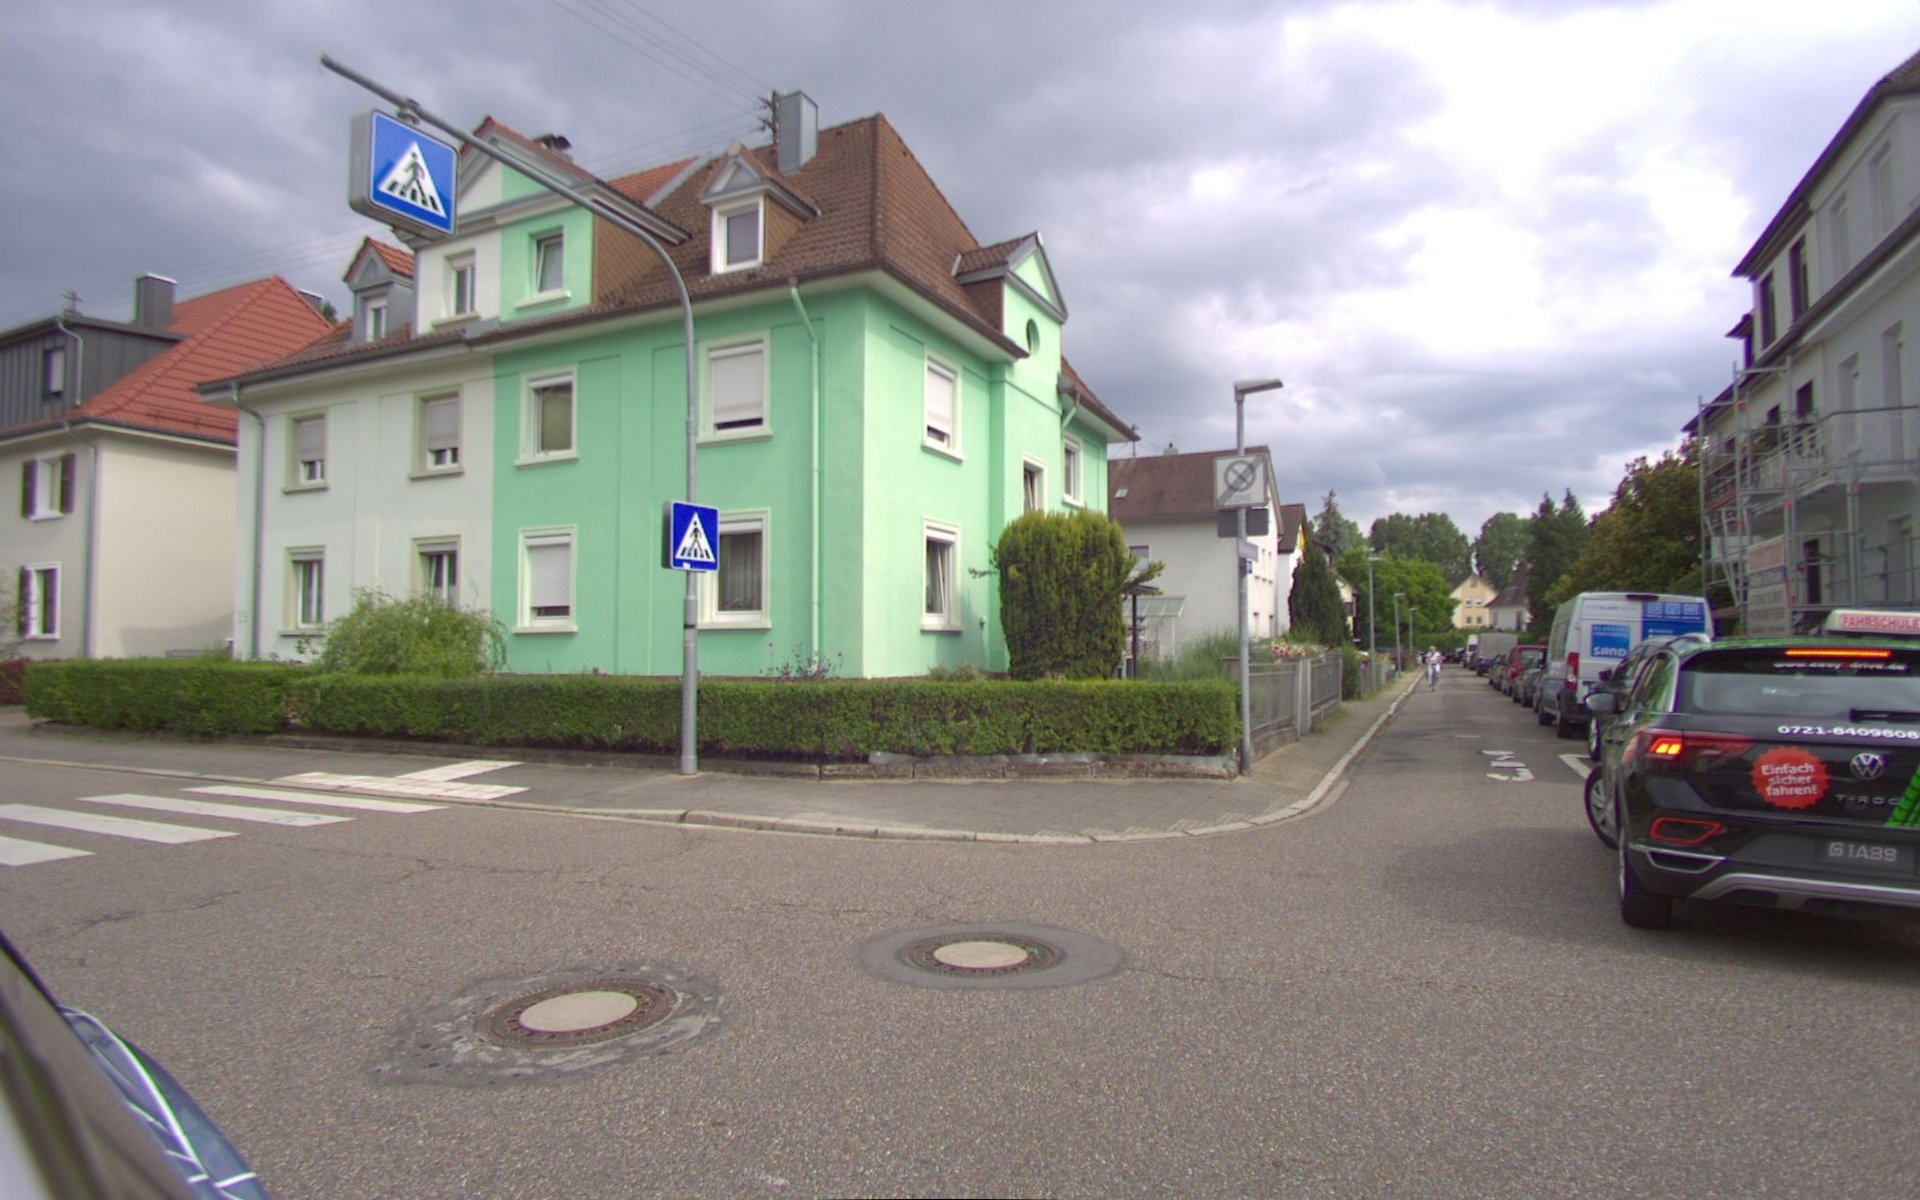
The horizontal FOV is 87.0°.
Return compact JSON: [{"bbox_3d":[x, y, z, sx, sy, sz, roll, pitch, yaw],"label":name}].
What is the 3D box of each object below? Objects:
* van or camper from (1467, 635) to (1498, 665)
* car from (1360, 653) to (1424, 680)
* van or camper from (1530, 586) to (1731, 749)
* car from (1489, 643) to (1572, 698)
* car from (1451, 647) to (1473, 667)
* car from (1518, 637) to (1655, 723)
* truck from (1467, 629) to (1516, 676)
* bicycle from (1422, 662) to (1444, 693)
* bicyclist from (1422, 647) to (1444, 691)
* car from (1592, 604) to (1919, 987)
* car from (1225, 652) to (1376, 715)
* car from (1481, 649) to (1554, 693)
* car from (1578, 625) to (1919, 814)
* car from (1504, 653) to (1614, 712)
[{"bbox_3d":[45.829,4.419,88.814,2.137,2.561,4.970,-2,-3,26],"label":"van or camper"},{"bbox_3d":[29.803,4.602,69.913,3.972,1.785,1.856,-1,-4,22],"label":"car"},{"bbox_3d":[11.777,1.157,18.189,2.186,2.478,5.011,-2,-3,25],"label":"van or camper"},{"bbox_3d":[19.645,2.398,35.026,1.987,1.763,4.307,-2,-3,23],"label":"car"},{"bbox_3d":[53.866,6.164,108.532,1.856,2.029,3.961,-2,-5,28],"label":"car"},{"bbox_3d":[14.346,1.783,23.425,1.987,1.785,4.307,-2,-3,23],"label":"car"},{"bbox_3d":[31.436,3.111,59.955,2.123,2.678,4.547,-2,-3,24],"label":"truck"},{"bbox_3d":[18.472,3.015,39.504,0.703,1.161,1.857,-3,-4,25],"label":"bicycle"},{"bbox_3d":[18.510,2.684,39.603,0.695,1.679,0.966,-3,-4,26],"label":"bicyclist"},{"bbox_3d":[4.813,0.900,5.840,1.815,1.531,4.001,-1,-4,30],"label":"car"},{"bbox_3d":[8.739,2.108,25.992,3.558,1.512,1.575,-2,-4,23],"label":"car"},{"bbox_3d":[21.768,2.730,39.667,1.987,1.603,4.307,-2,-3,23],"label":"car"},{"bbox_3d":[8.730,1.212,11.727,1.987,1.740,4.307,-2,-3,23],"label":"car"},{"bbox_3d":[16.430,2.213,27.974,1.987,1.466,4.307,-2,-3,23],"label":"car"}]
